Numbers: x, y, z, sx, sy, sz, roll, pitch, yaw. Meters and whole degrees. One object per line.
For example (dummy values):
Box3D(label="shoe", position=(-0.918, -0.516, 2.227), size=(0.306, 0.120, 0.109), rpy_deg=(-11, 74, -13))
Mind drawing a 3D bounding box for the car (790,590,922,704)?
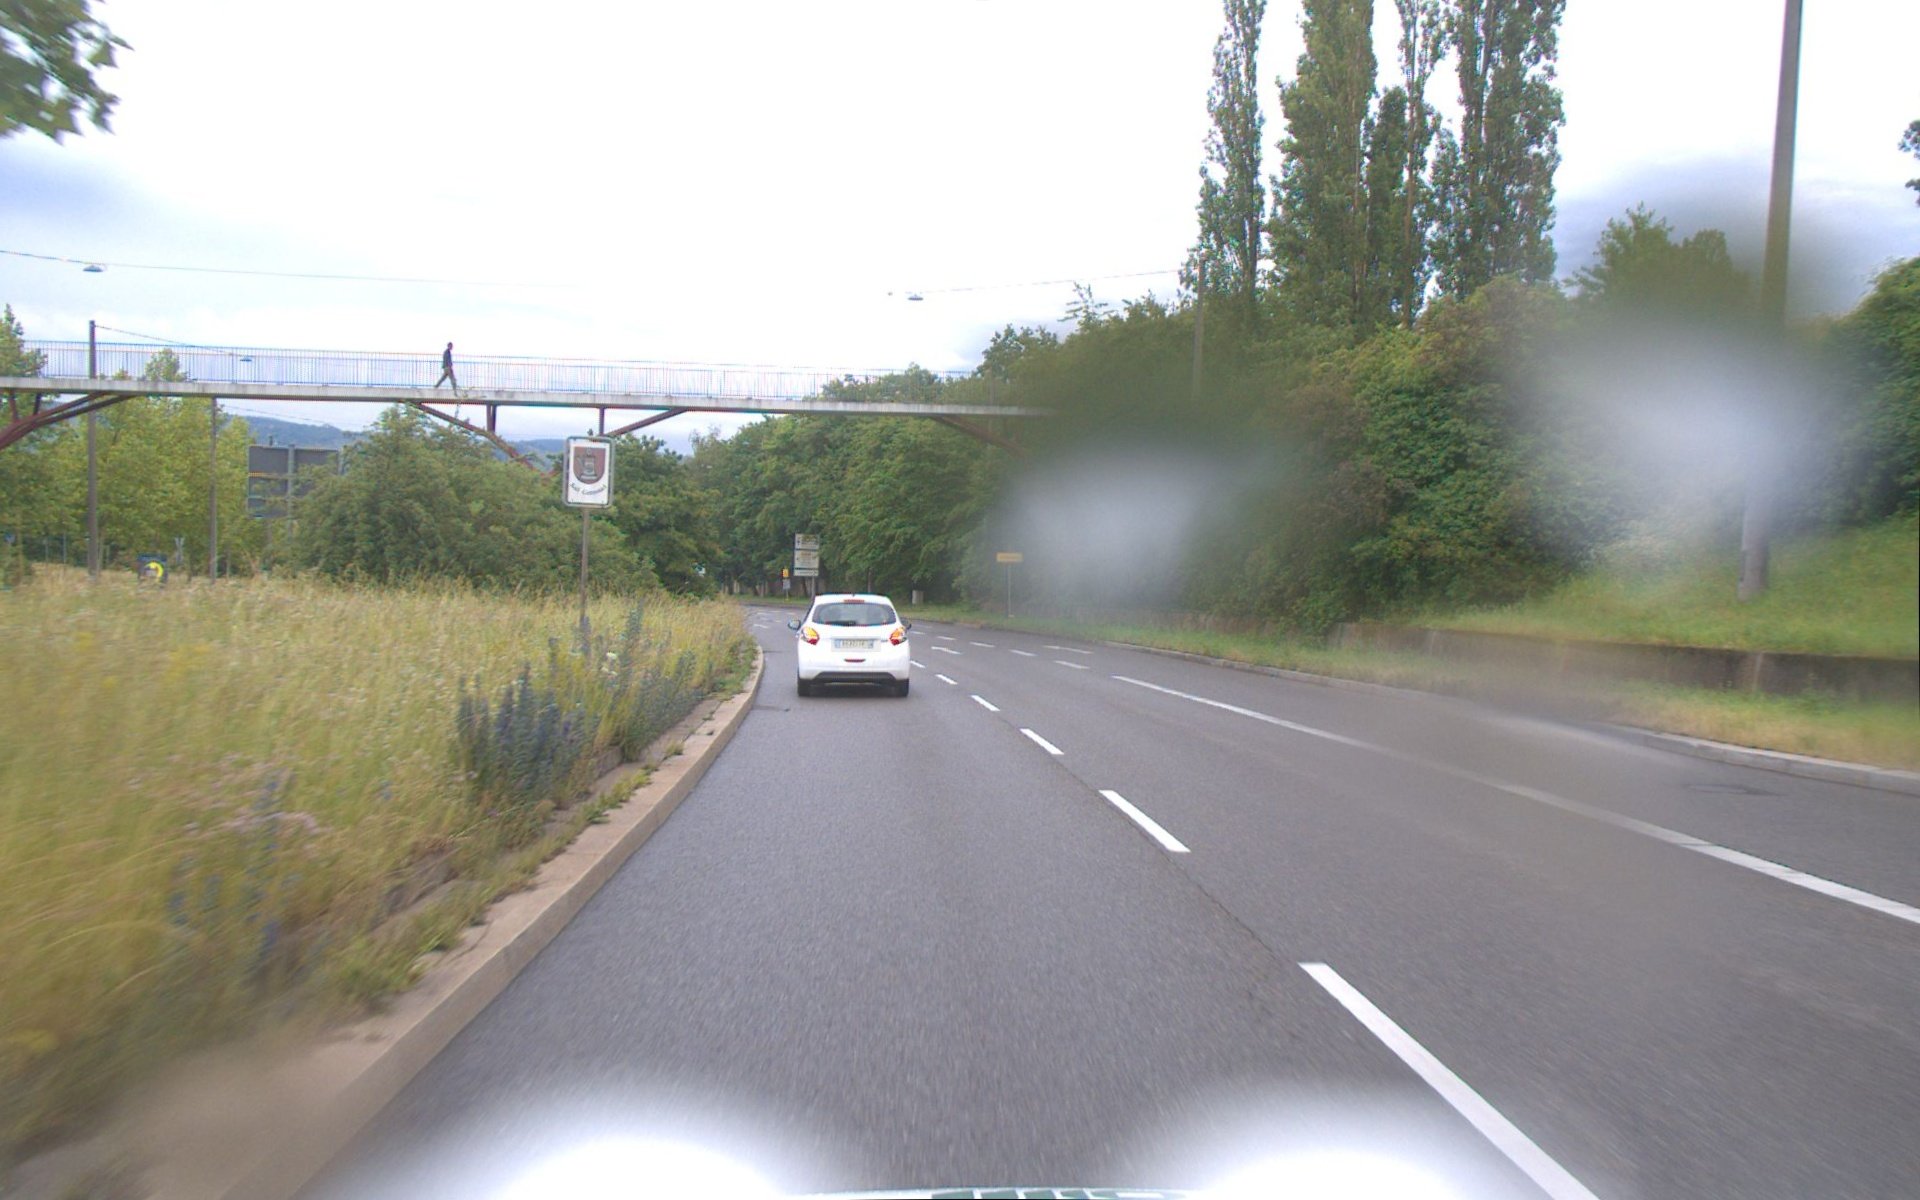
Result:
Box3D(label="car", position=(-1.665, 0.657, 25.459), size=(1.832, 1.537, 3.895), rpy_deg=(2, 1, -6))

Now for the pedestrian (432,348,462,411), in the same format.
Box3D(label="pedestrian", position=(-18.497, -7.931, 59.665), size=(0.898, 2.181, 0.730), rpy_deg=(-1, 0, -12))
